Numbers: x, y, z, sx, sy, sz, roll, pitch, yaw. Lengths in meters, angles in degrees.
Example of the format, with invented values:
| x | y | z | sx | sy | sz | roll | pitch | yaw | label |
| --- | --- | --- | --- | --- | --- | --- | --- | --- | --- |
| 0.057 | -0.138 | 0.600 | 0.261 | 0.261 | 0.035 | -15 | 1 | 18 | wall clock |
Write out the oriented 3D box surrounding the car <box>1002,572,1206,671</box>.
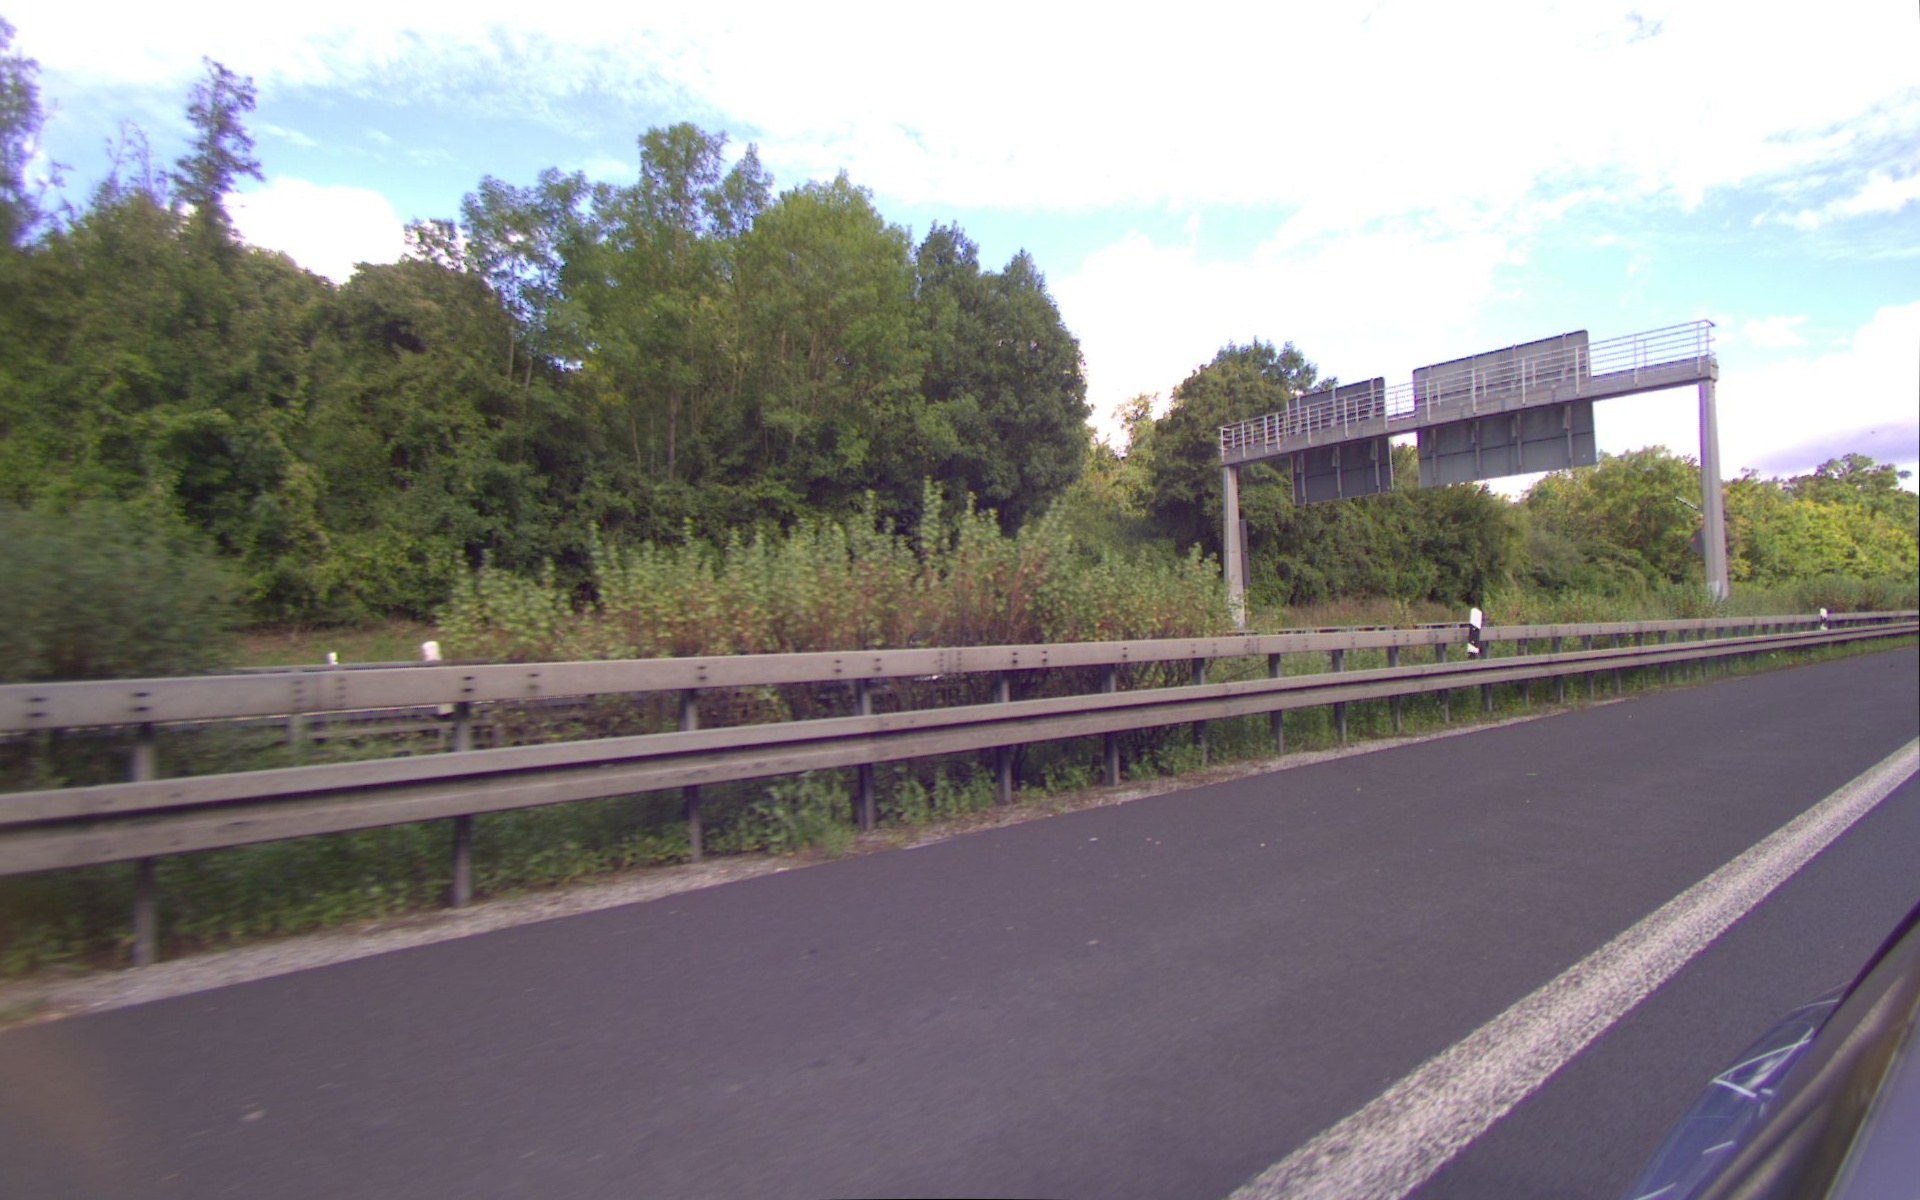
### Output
| x | y | z | sx | sy | sz | roll | pitch | yaw | label |
| --- | --- | --- | --- | --- | --- | --- | --- | --- | --- |
| 3.370 | 0.432 | 23.066 | 4.826 | 2.039 | 1.996 | 0 | 0 | -42 | car |

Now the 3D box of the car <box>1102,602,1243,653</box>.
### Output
| x | y | z | sx | sy | sz | roll | pitch | yaw | label |
| --- | --- | --- | --- | --- | --- | --- | --- | --- | --- |
| 6.943 | 0.840 | 32.818 | 4.780 | 1.529 | 1.772 | 0 | 0 | -37 | car |
